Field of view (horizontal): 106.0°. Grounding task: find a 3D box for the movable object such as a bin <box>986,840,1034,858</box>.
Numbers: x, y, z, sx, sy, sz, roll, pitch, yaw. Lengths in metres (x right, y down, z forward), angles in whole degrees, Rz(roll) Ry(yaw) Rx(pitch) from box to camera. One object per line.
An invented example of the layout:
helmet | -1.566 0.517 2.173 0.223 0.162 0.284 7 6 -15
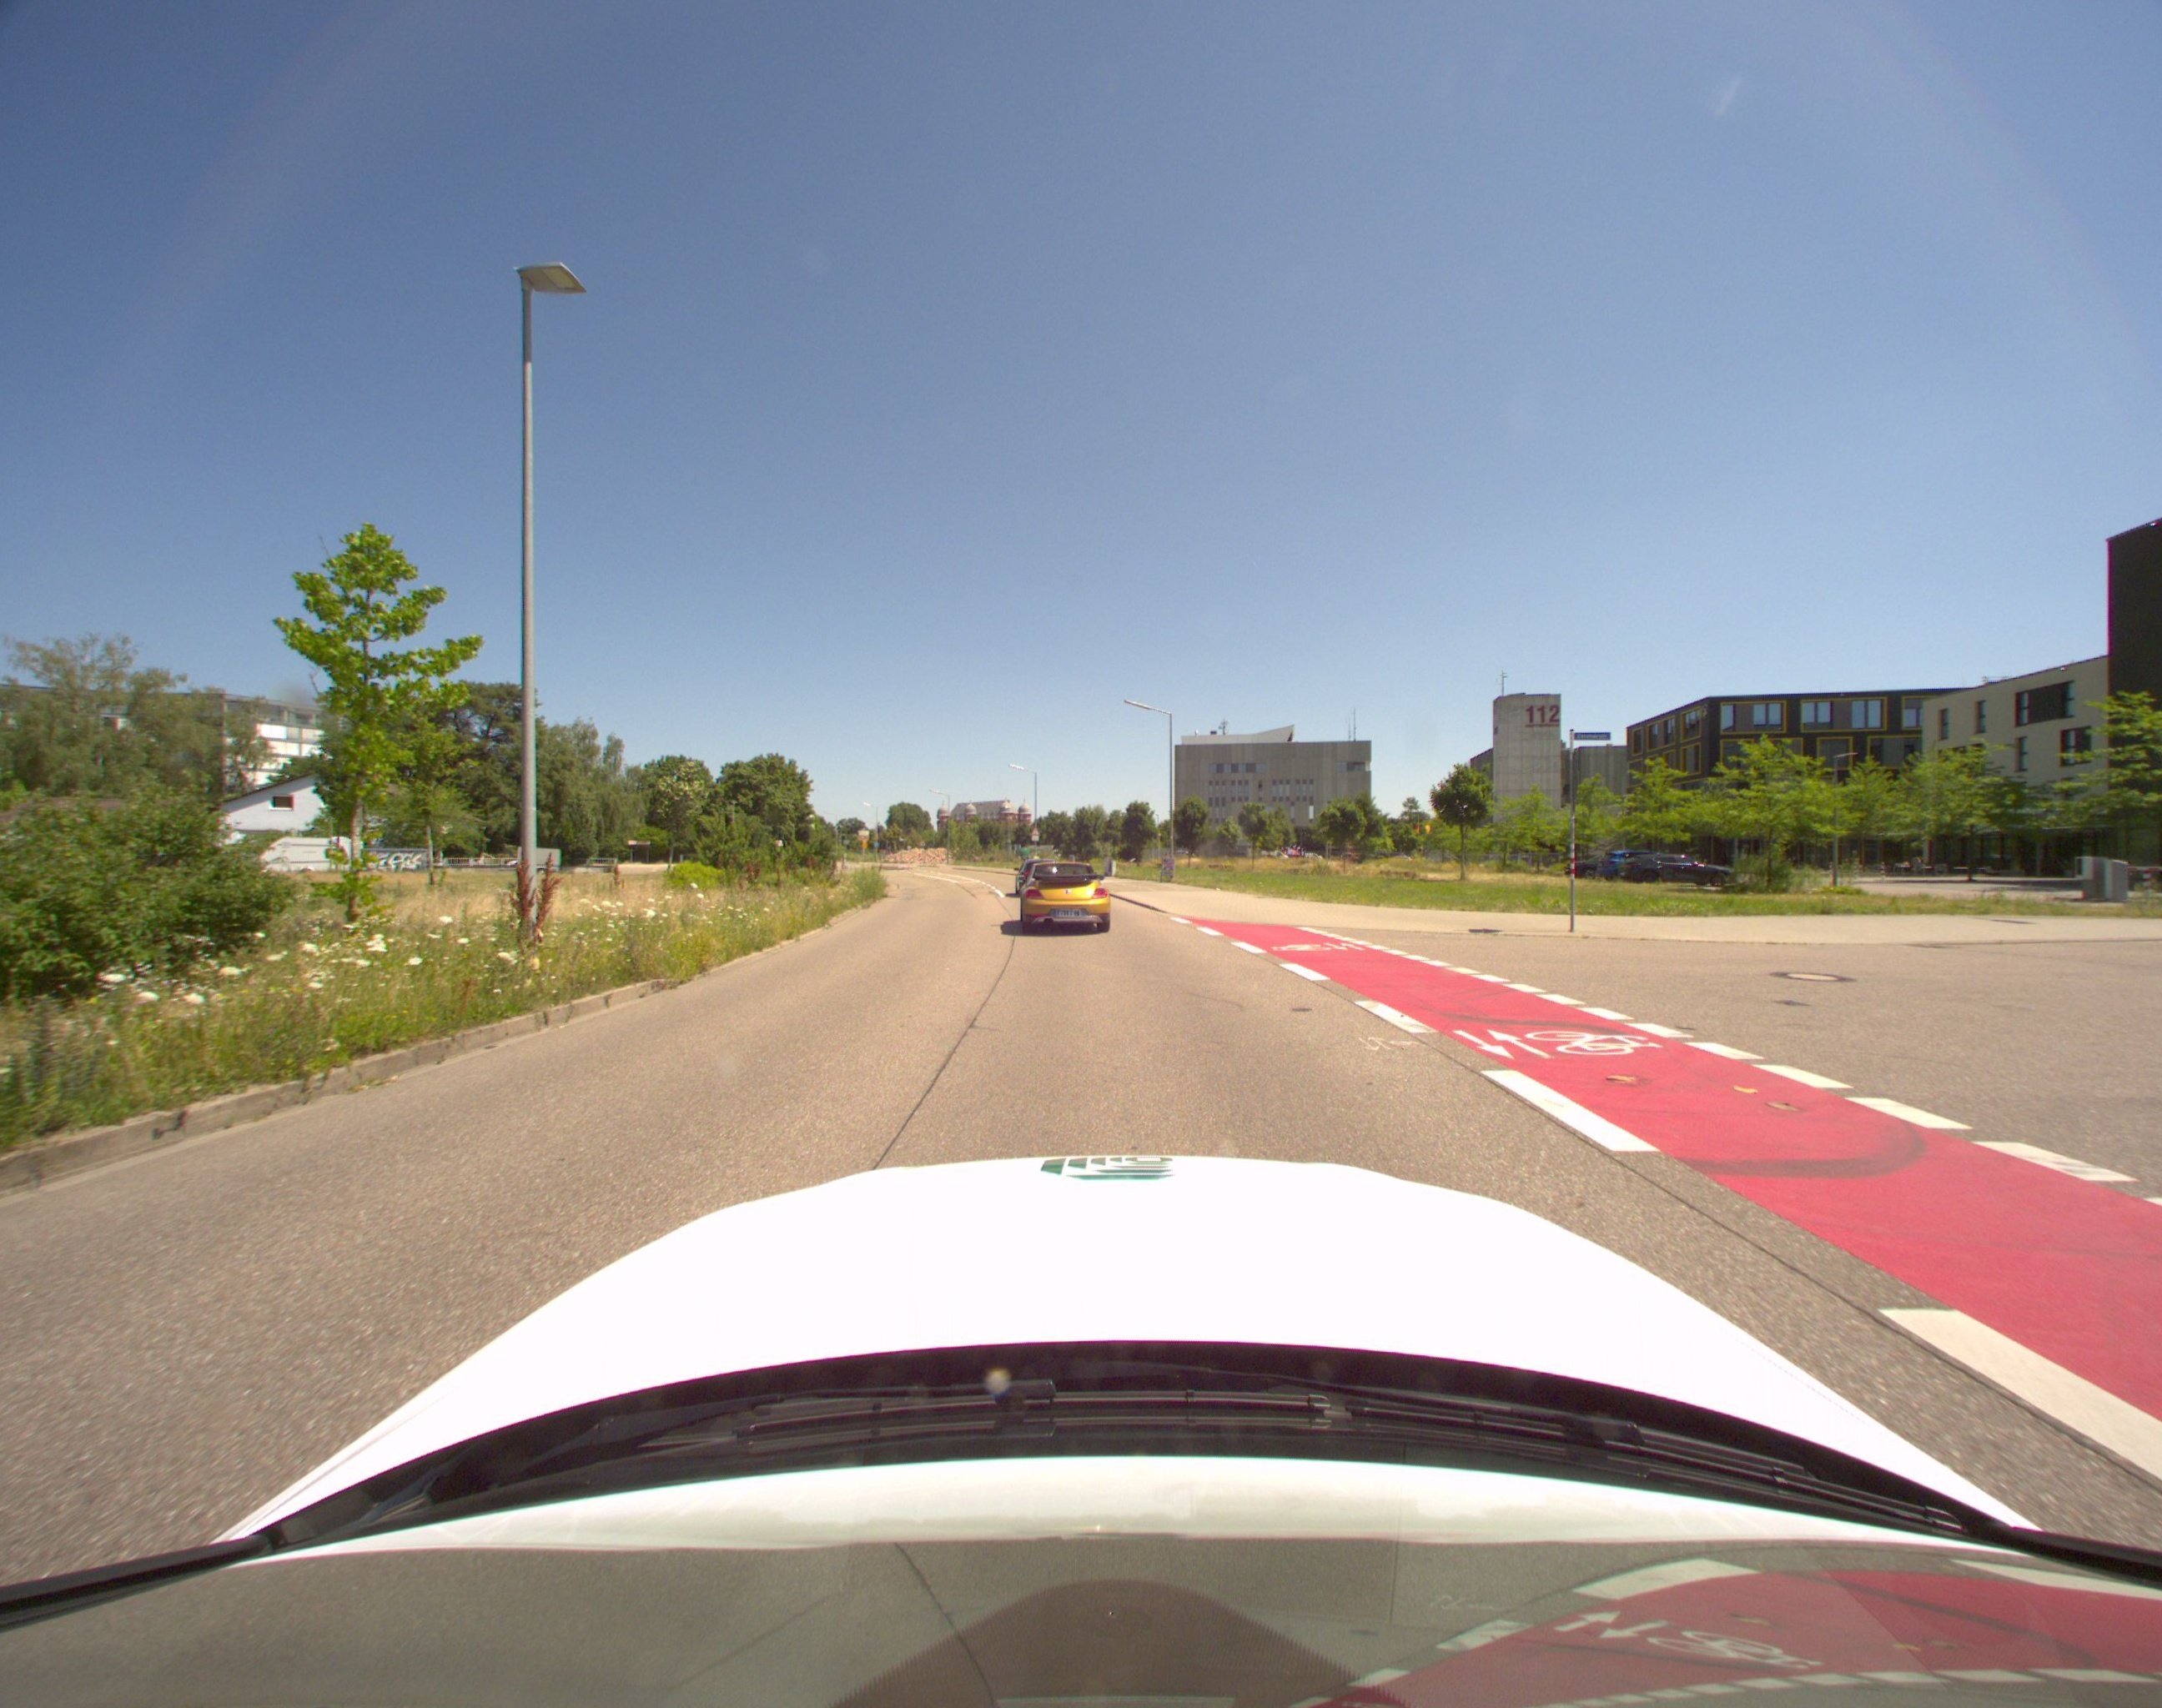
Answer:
movable object such as a bin | -13.419 -0.904 152.559 4.970 3.260 10.368 1 0 -30

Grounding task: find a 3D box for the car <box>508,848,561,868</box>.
car | -45.018 0.301 67.136 3.351 1.577 1.758 0 0 -26

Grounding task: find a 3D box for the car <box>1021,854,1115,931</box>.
car | -0.371 0.738 17.385 1.786 1.436 3.808 0 0 -4

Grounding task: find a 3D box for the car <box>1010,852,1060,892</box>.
car | -1.720 0.665 31.596 1.721 1.443 3.999 0 0 0

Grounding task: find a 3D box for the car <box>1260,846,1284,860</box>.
car | 31.796 -0.211 135.379 3.815 2.294 1.749 0 0 14

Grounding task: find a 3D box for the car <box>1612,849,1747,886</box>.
car | 26.808 0.578 36.631 4.463 1.562 2.039 0 0 12

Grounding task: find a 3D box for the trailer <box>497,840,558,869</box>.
trailer | -39.879 0.048 58.757 3.432 2.045 1.745 0 0 -27

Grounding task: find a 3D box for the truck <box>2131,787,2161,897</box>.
truck | 34.254 -0.433 20.396 2.986 3.462 12.188 -2 -1 15

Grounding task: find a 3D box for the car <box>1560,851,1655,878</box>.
car | 29.686 0.582 46.044 4.090 1.444 1.966 0 0 7

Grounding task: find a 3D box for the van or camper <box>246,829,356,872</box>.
van or camper | -50.404 -0.194 52.772 4.476 2.591 2.470 2 -1 -27

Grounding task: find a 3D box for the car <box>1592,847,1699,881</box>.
car | 28.466 0.492 41.188 4.030 1.652 1.961 0 0 13
